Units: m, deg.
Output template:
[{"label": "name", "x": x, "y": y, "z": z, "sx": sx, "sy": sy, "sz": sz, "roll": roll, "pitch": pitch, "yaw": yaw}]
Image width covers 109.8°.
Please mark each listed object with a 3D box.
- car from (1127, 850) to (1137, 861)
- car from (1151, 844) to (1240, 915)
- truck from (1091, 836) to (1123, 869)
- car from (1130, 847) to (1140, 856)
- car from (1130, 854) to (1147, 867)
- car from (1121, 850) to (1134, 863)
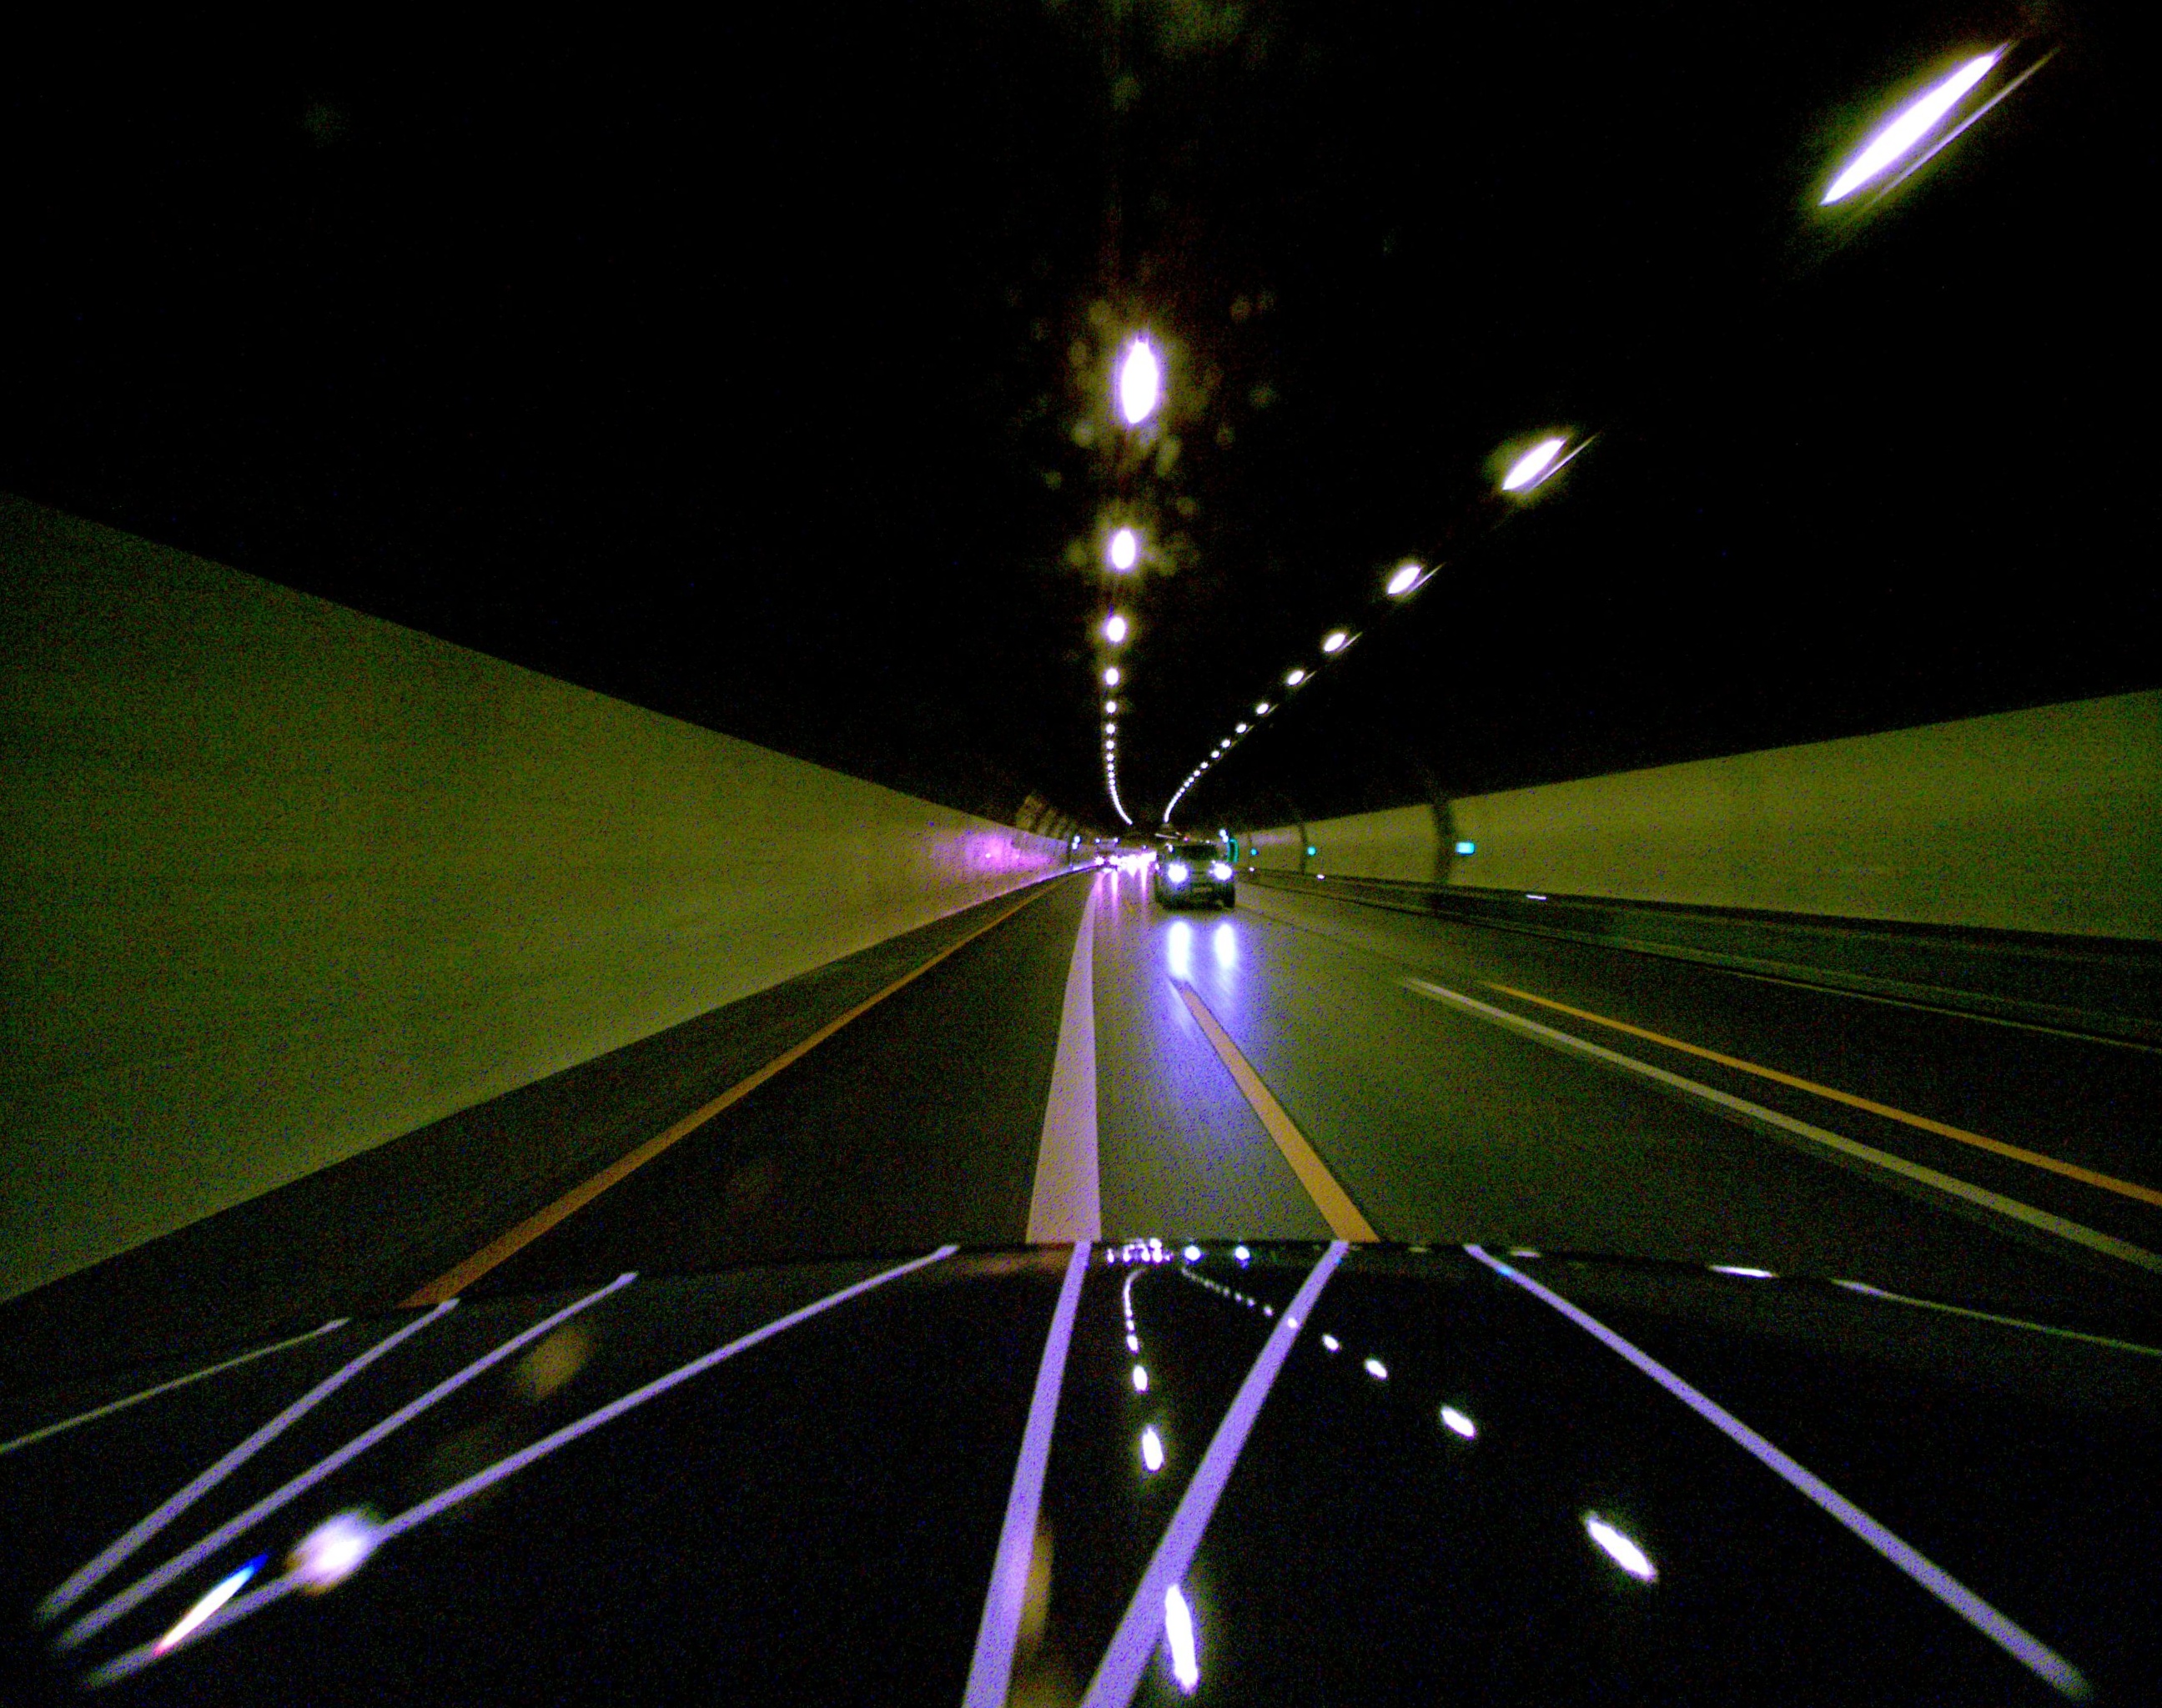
[{"label": "car", "x": 10.373, "y": 0.297, "z": 153.896, "sx": 1.998, "sy": 2.002, "sz": 4.001, "roll": -1, "pitch": 0, "yaw": 3}, {"label": "car", "x": 3.289, "y": 0.680, "z": 22.969, "sx": 1.998, "sy": 1.884, "sz": 5.453, "roll": 0, "pitch": 0, "yaw": 1}, {"label": "truck", "x": 2.697, "y": -0.145, "z": 79.337, "sx": 2.988, "sy": 3.161, "sz": 10.509, "roll": -1, "pitch": 0, "yaw": 2}, {"label": "car", "x": 12.282, "y": -0.506, "z": 173.196, "sx": 1.998, "sy": 1.917, "sz": 4.385, "roll": -1, "pitch": 0, "yaw": 1}, {"label": "car", "x": 7.556, "y": 0.816, "z": 99.417, "sx": 2.171, "sy": 1.709, "sz": 4.482, "roll": -1, "pitch": 0, "yaw": 4}, {"label": "car", "x": 7.709, "y": 0.404, "z": 126.896, "sx": 1.998, "sy": 2.002, "sz": 4.000, "roll": -1, "pitch": 0, "yaw": 1}]
